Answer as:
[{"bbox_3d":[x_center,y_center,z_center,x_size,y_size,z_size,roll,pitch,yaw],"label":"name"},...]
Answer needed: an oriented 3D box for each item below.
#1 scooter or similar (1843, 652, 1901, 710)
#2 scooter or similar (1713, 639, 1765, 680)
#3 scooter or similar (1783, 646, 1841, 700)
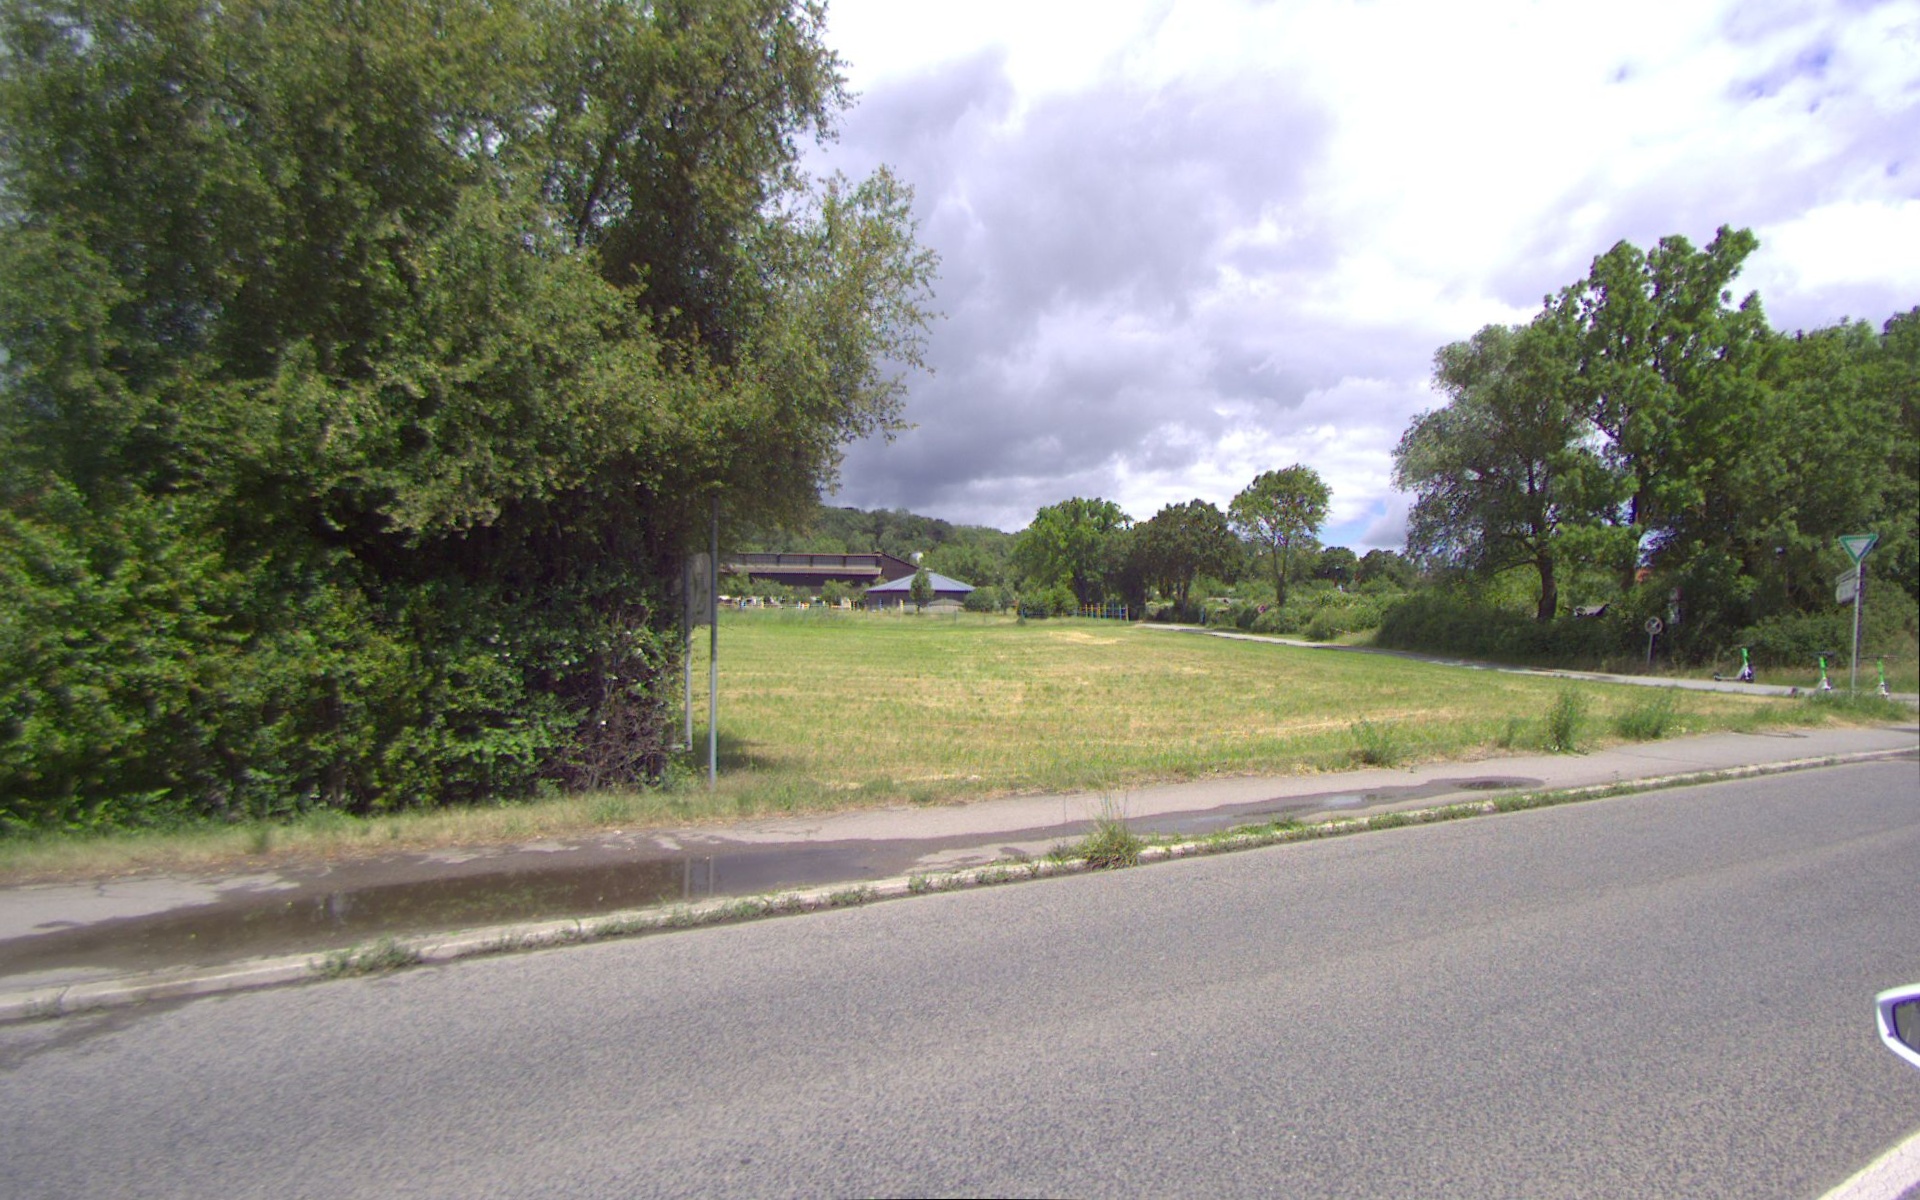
[{"bbox_3d":[19.919,1.748,21.960,0.399,1.184,1.351,0,-1,17],"label":"scooter or similar"},{"bbox_3d":[23.801,1.815,30.703,0.400,1.184,1.243,1,-1,-17],"label":"scooter or similar"},{"bbox_3d":[19.853,1.681,23.430,0.398,1.184,1.352,1,-1,11],"label":"scooter or similar"}]
